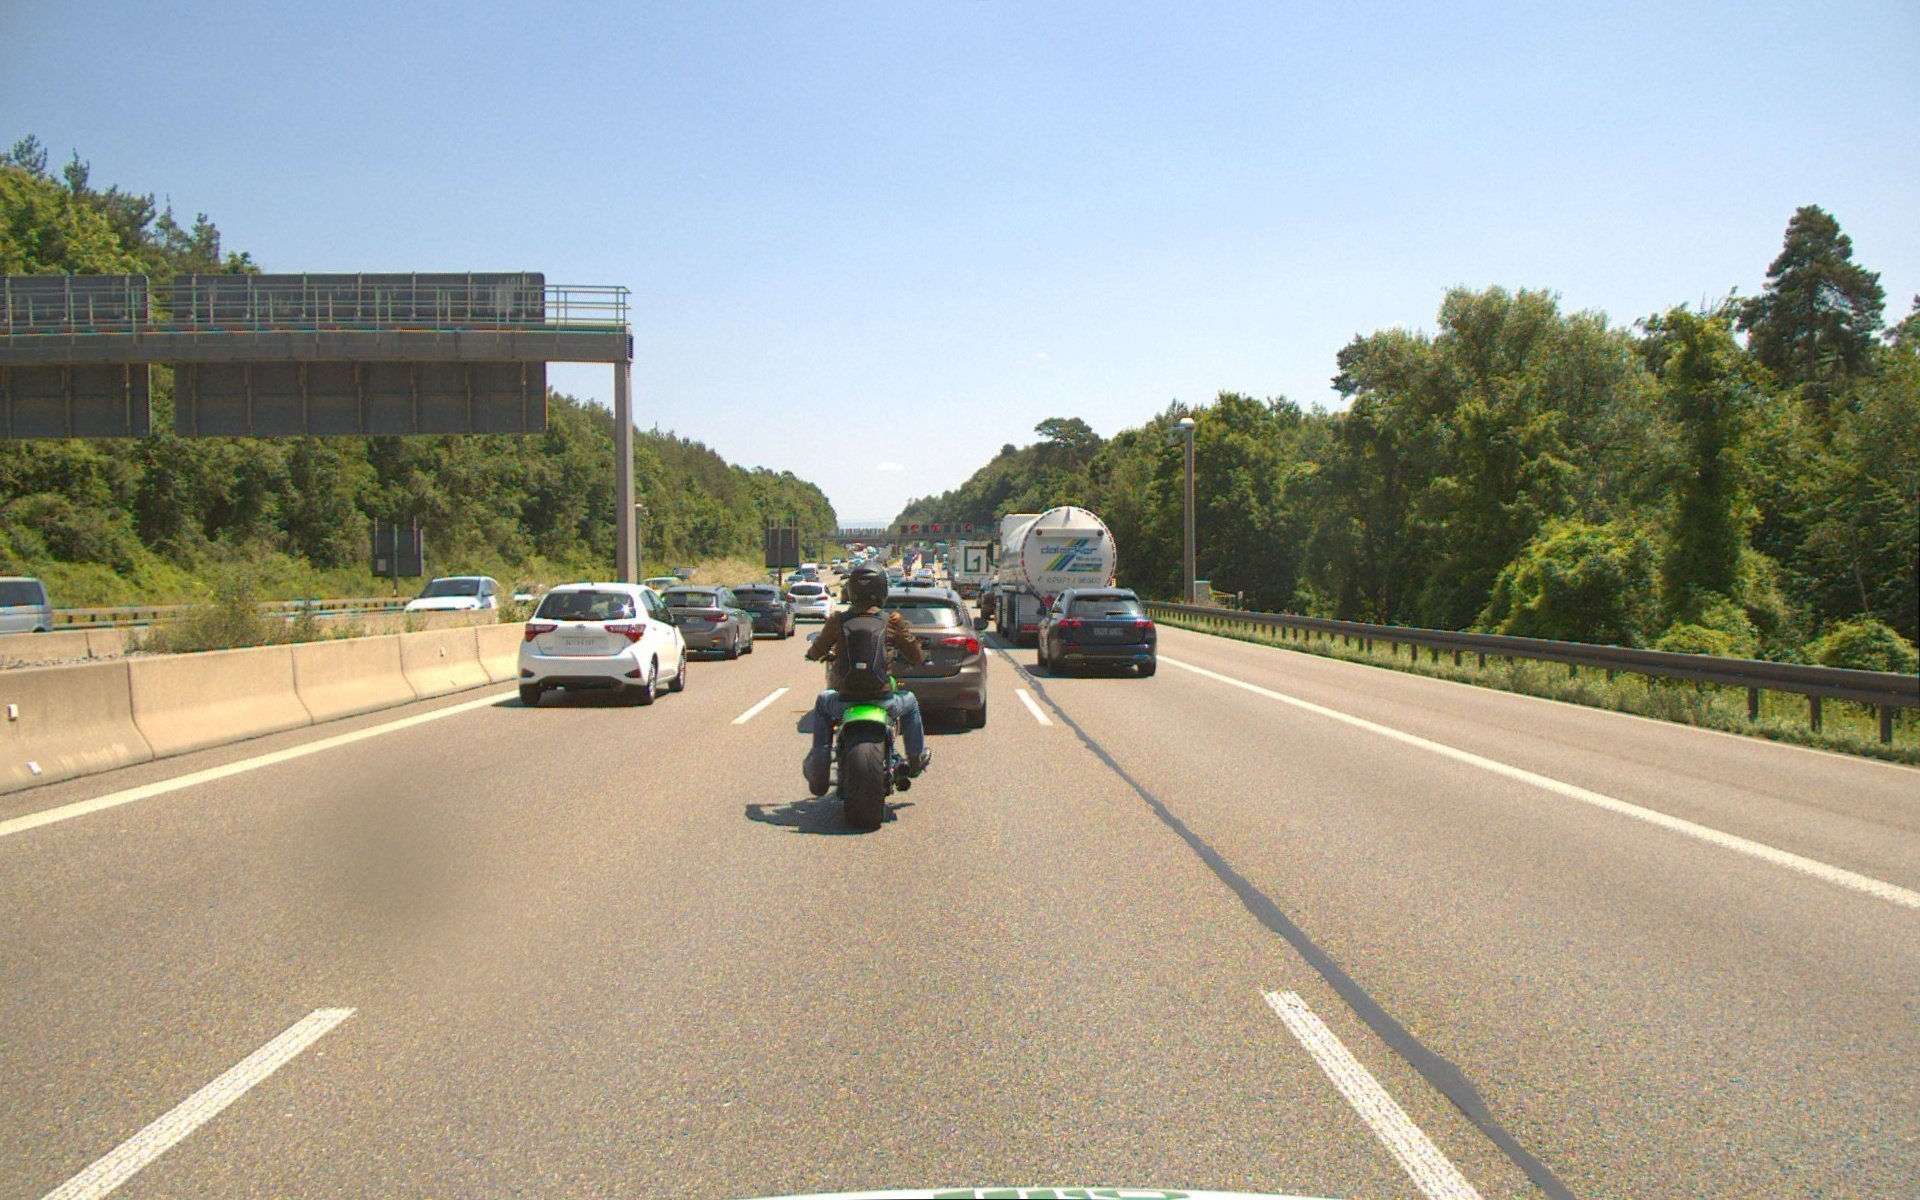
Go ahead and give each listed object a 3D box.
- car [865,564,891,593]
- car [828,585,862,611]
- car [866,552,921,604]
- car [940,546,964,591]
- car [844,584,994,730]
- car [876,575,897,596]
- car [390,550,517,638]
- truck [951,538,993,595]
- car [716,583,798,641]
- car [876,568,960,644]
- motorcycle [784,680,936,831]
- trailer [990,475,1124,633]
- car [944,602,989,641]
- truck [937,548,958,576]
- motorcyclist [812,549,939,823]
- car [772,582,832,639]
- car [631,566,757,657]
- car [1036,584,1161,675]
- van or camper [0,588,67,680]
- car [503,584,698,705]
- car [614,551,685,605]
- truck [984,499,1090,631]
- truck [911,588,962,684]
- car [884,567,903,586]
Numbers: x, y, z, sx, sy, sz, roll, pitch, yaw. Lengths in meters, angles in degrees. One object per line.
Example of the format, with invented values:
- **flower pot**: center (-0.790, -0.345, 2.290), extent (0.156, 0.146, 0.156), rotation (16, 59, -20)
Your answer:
- **car**: center (-5.736, -1.490, 115.892), extent (1.627, 2.012, 3.999), rotation (0, 0, -1)
- **car**: center (-6.660, -0.117, 95.823), extent (1.728, 1.467, 4.000), rotation (0, 0, -1)
- **car**: center (-2.458, -0.778, 61.361), extent (1.953, 1.806, 3.998), rotation (1, -1, -2)
- **car**: center (-0.824, -2.915, 157.111), extent (2.123, 3.961, 9.327), rotation (1, -1, -1)
- **car**: center (-0.457, 0.575, 18.828), extent (1.509, 1.475, 3.999), rotation (1, 0, -1)
- **car**: center (-5.974, -1.148, 134.486), extent (1.627, 1.627, 3.999), rotation (0, 0, -1)
- **car**: center (-12.549, -0.117, 41.240), extent (1.953, 2.049, 4.191), rotation (1, -1, -2)
- **truck**: center (0.914, -2.362, 119.670), extent (2.794, 3.888, 7.188), rotation (1, -1, 2)
- **car**: center (-5.542, 0.340, 45.570), extent (1.954, 1.490, 3.997), rotation (1, -1, -3)
- **car**: center (-1.046, 0.167, 40.714), extent (1.953, 1.741, 3.998), rotation (1, -1, -2)
- **motorcycle**: center (-0.632, 1.001, 11.211), extent (0.917, 0.807, 2.298), rotation (1, 0, -1)
- **trailer**: center (2.412, -1.022, 44.763), extent (2.770, 3.735, 10.729), rotation (1, -1, -1)
- **car**: center (0.240, 0.895, 68.056), extent (1.740, 1.554, 3.999), rotation (1, -1, -1)
- **truck**: center (-1.755, -4.946, 219.302), extent (2.641, 3.465, 10.475), rotation (-1, 0, -1)
- **motorcyclist**: center (-0.542, 0.548, 10.919), extent (0.782, 1.717, 1.016), rotation (1, -1, -1)
- **car**: center (-5.860, 0.411, 61.676), extent (1.953, 2.049, 3.998), rotation (1, -1, -2)
- **car**: center (-5.375, 0.250, 33.982), extent (1.953, 1.713, 4.328), rotation (1, -1, -1)
- **car**: center (2.396, 0.514, 29.601), extent (1.756, 1.484, 4.622), rotation (1, -1, -1)
- **van or camper**: center (-22.567, 0.761, 37.611), extent (1.953, 2.049, 4.680), rotation (1, -1, -1)
- **car**: center (-4.613, 0.558, 21.754), extent (1.740, 1.435, 3.999), rotation (1, -1, -1)
- **car**: center (-12.512, -0.849, 66.858), extent (1.952, 2.049, 4.348), rotation (1, -1, 1)
- **truck**: center (2.246, -0.958, 50.478), extent (2.770, 3.735, 6.427), rotation (1, -1, -1)
- **truck**: center (-1.289, 1.694, 85.144), extent (2.340, 4.542, 10.865), rotation (0, 1, -2)
- **car**: center (-7.439, -2.587, 185.054), extent (1.953, 2.049, 3.999), rotation (-1, 0, -1)
